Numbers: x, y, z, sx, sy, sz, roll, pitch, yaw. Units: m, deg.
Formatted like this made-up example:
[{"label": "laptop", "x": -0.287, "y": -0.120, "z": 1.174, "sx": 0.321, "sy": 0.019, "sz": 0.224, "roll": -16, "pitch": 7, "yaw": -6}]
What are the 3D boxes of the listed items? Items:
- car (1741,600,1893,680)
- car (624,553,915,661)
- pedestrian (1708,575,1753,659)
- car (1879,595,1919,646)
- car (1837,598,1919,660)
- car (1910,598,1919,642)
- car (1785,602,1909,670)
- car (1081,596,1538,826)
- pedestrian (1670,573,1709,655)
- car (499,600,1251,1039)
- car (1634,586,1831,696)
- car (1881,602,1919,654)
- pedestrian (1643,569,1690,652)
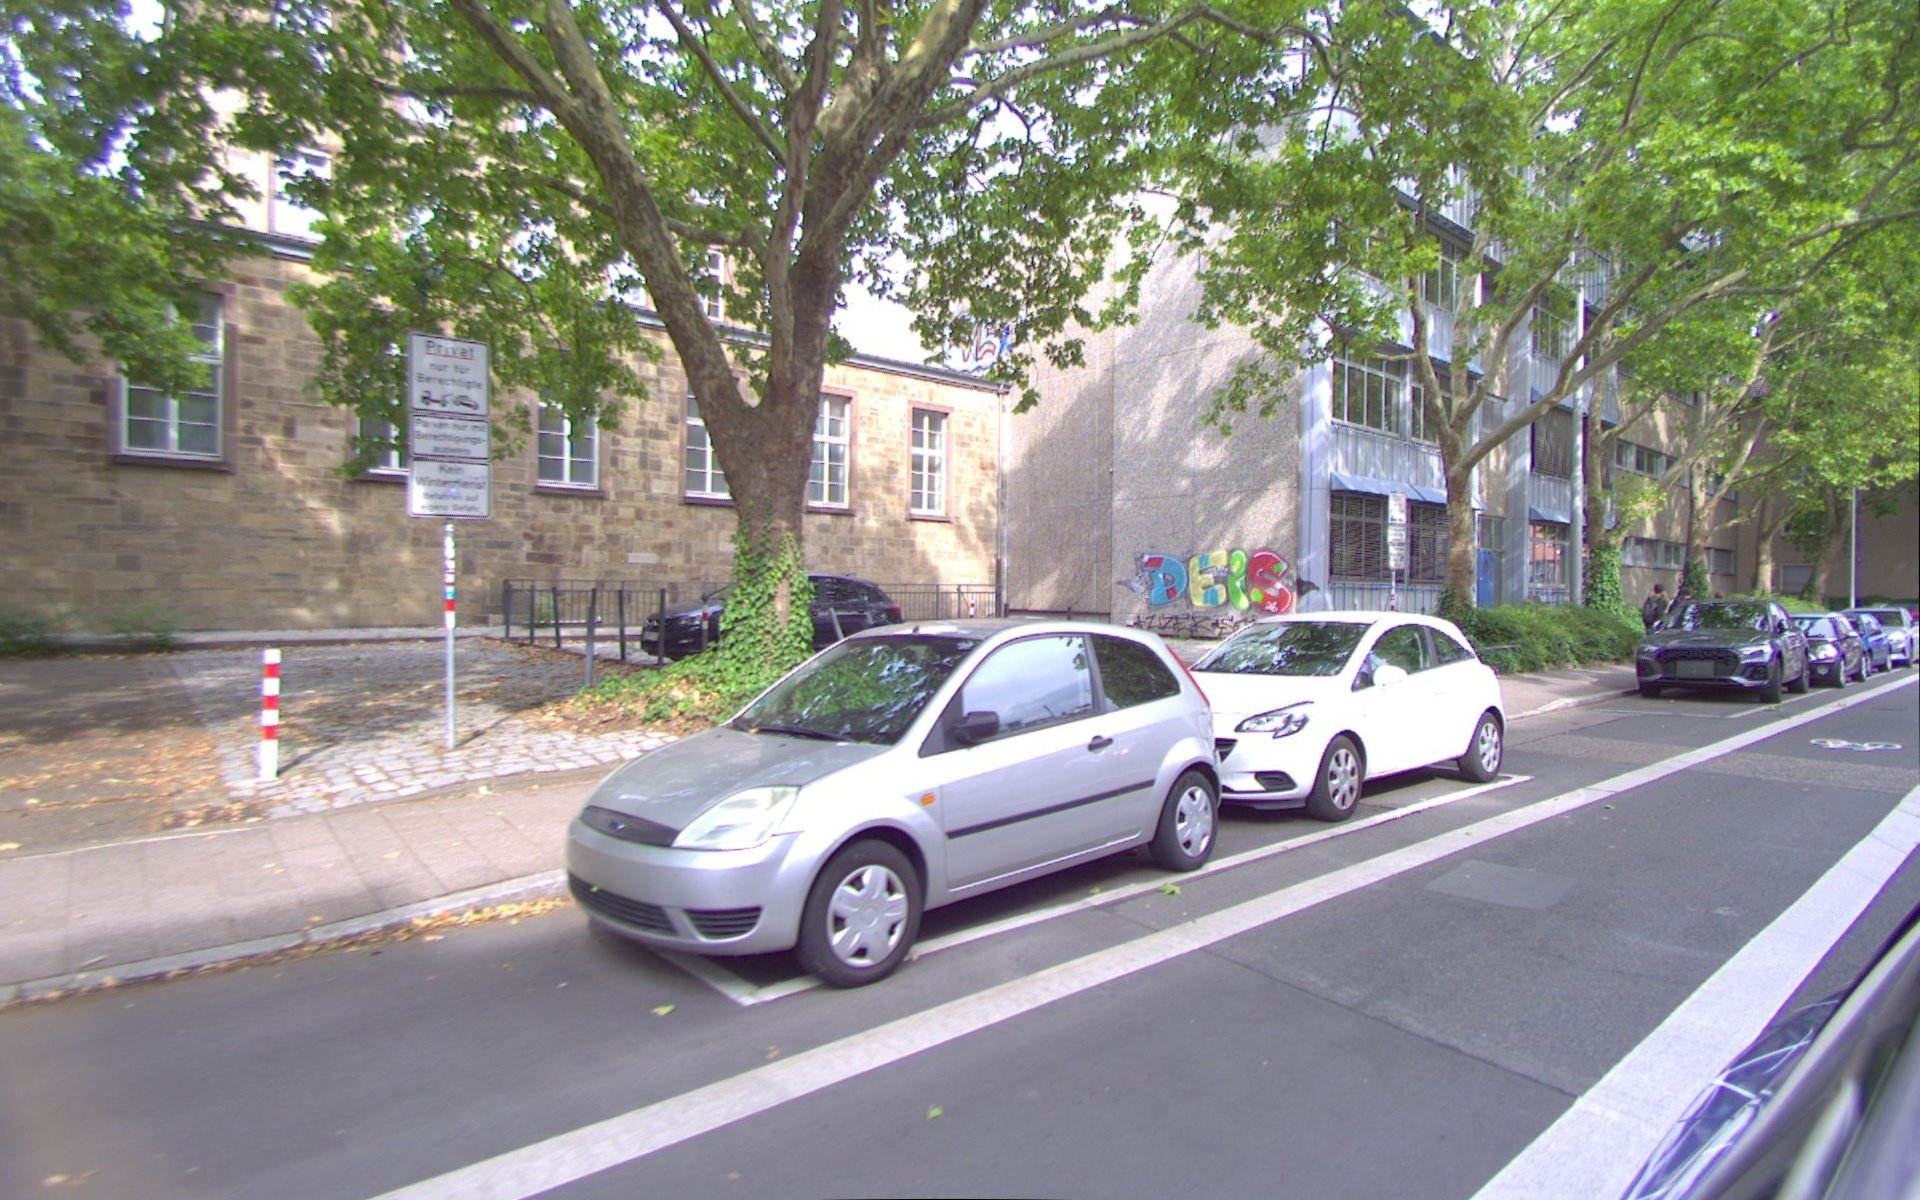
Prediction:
[{"label": "car", "x": 17.426, "y": 0.745, "z": 20.502, "sx": 4.493, "sy": 1.451, "sz": 1.642, "roll": 0, "pitch": -1, "yaw": -41}, {"label": "car", "x": -2.864, "y": 0.158, "z": 15.870, "sx": 4.224, "sy": 1.468, "sz": 1.671, "roll": 3, "pitch": -1, "yaw": -43}, {"label": "pedestrian", "x": 17.117, "y": 0.369, "z": 22.477, "sx": 0.468, "sy": 1.806, "sz": 0.592, "roll": 0, "pitch": 4, "yaw": -41}, {"label": "car", "x": 32.570, "y": 0.669, "z": 34.296, "sx": 3.730, "sy": 1.686, "sz": 1.650, "roll": 0, "pitch": -1, "yaw": -41}, {"label": "car", "x": 24.783, "y": 0.728, "z": 26.880, "sx": 4.362, "sy": 1.524, "sz": 1.601, "roll": 0, "pitch": -1, "yaw": -41}, {"label": "car", "x": 36.137, "y": 0.706, "z": 36.991, "sx": 3.886, "sy": 1.545, "sz": 1.601, "roll": 0, "pitch": -1, "yaw": -41}, {"label": "car", "x": 20.610, "y": 0.780, "z": 23.474, "sx": 3.886, "sy": 1.441, "sz": 1.601, "roll": 0, "pitch": -1, "yaw": -41}, {"label": "car", "x": 3.078, "y": 0.718, "z": 8.497, "sx": 4.143, "sy": 1.465, "sz": 1.757, "roll": 0, "pitch": -1, "yaw": -40}, {"label": "pedestrian", "x": 16.526, "y": 0.298, "z": 22.938, "sx": 0.518, "sy": 1.806, "sz": 0.502, "roll": 0, "pitch": 4, "yaw": -41}, {"label": "car", "x": -0.164, "y": 0.743, "z": 5.339, "sx": 1.643, "sy": 1.465, "sz": 3.820, "roll": -1, "pitch": -1, "yaw": 45}, {"label": "car", "x": 13.315, "y": 0.624, "z": 17.342, "sx": 4.405, "sy": 1.642, "sz": 1.923, "roll": 0, "pitch": -1, "yaw": -43}, {"label": "car", "x": 28.860, "y": 0.806, "z": 30.161, "sx": 4.032, "sy": 1.465, "sz": 1.601, "roll": 0, "pitch": -1, "yaw": -41}, {"label": "pedestrian", "x": 16.345, "y": 0.221, "z": 23.405, "sx": 0.634, "sy": 1.855, "sz": 0.643, "roll": 0, "pitch": 4, "yaw": -41}]
